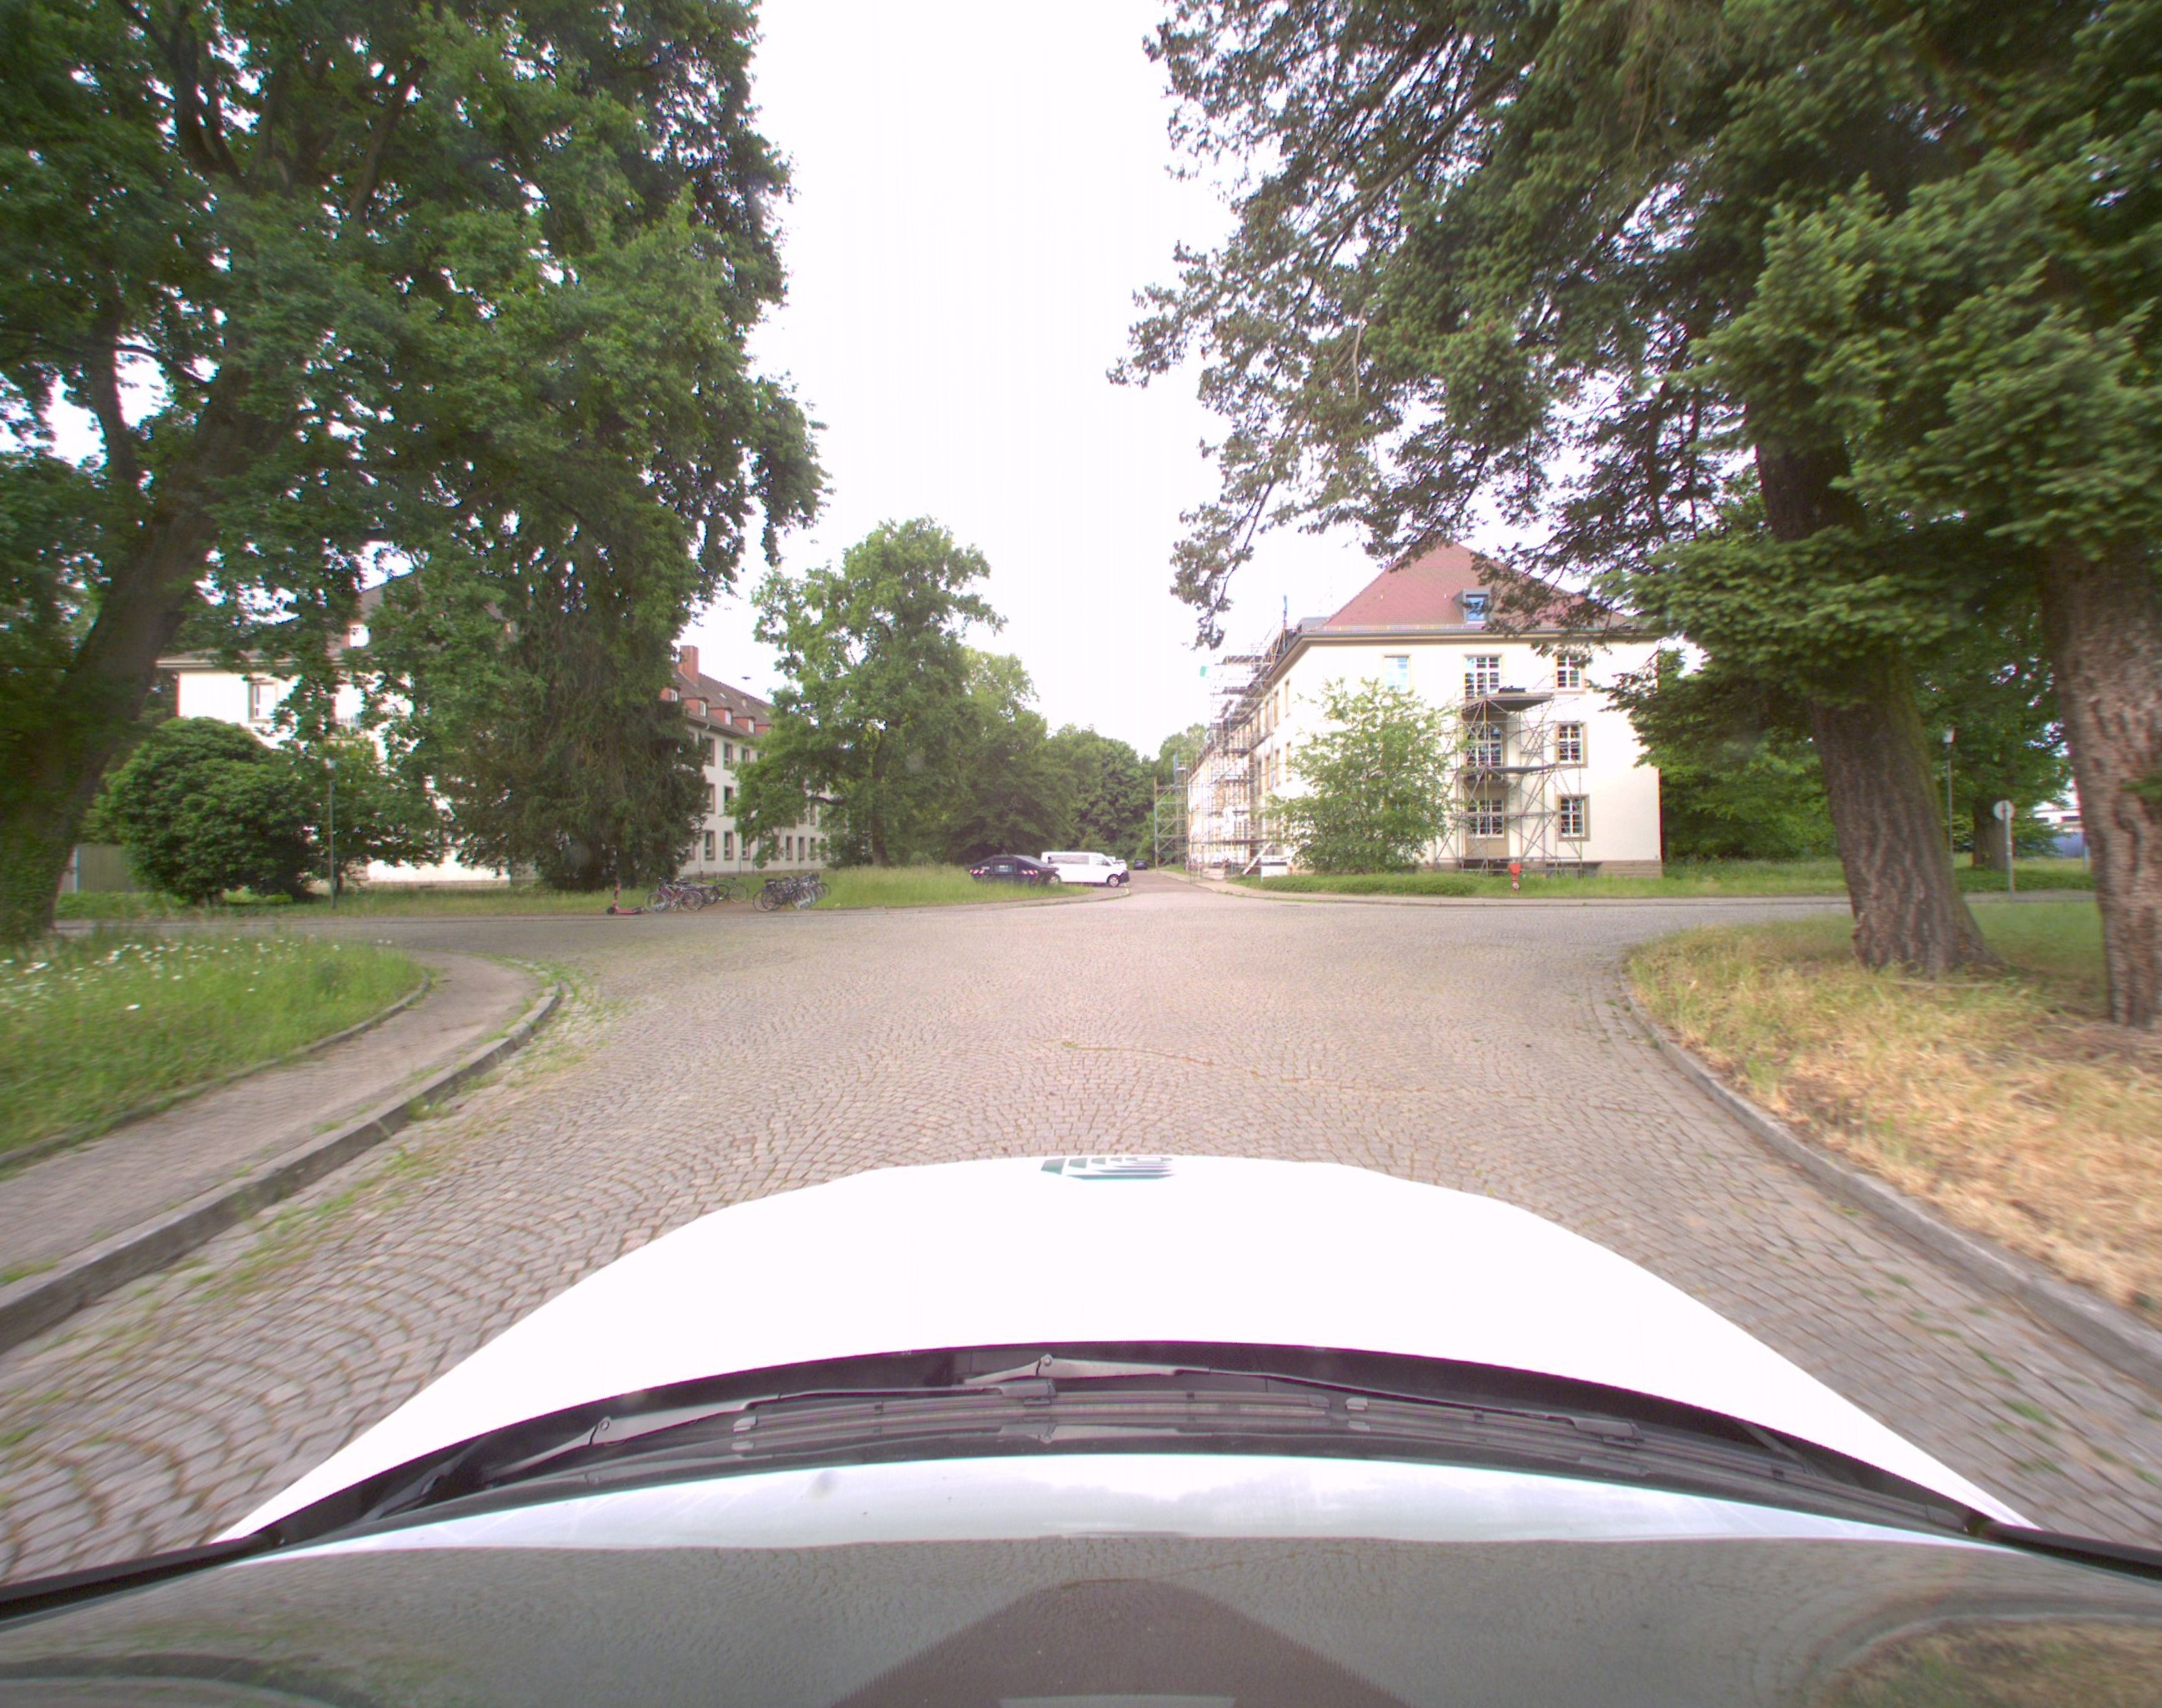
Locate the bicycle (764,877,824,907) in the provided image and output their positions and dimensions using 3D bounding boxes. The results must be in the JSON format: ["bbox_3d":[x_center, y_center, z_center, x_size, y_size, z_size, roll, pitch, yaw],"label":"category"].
[{"bbox_3d":[-10.198,1.325,28.968,1.965,0.989,0.622,-1,-1,-21],"label":"bicycle"}]

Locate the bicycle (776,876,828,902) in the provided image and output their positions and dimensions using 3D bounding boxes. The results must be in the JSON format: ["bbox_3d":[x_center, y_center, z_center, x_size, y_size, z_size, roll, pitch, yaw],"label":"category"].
[{"bbox_3d":[-11.252,1.408,32.882,1.965,0.989,0.622,-1,-1,-21],"label":"bicycle"}]

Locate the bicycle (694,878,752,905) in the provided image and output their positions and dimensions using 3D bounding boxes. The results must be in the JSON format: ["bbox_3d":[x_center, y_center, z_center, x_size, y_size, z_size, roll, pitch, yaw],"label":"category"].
[{"bbox_3d":[-13.908,1.445,31.679,1.957,0.989,0.625,-1,-1,-9],"label":"bicycle"}]

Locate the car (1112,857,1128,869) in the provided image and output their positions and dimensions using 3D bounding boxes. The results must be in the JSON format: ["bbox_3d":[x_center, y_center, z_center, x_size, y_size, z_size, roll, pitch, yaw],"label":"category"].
[{"bbox_3d":[5.327,1.264,112.731,2.111,1.522,4.001,-1,-1,1],"label":"car"}]

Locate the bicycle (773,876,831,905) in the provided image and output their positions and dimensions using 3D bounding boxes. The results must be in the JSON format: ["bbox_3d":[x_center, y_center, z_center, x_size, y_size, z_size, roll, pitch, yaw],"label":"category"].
[{"bbox_3d":[-10.215,1.339,29.846,1.965,0.989,0.622,-1,-1,-21],"label":"bicycle"}]

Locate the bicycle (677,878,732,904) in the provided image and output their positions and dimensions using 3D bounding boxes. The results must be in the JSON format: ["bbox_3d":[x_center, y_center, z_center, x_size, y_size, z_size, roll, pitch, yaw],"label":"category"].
[{"bbox_3d":[-15.310,1.496,33.148,1.961,0.989,0.624,-1,-1,-15],"label":"bicycle"}]

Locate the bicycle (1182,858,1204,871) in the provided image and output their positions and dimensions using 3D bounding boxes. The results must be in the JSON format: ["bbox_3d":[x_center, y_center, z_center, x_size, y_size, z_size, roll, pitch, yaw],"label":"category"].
[{"bbox_3d":[11.600,1.093,84.451,2.230,1.254,0.699,-1,-1,4],"label":"bicycle"}]

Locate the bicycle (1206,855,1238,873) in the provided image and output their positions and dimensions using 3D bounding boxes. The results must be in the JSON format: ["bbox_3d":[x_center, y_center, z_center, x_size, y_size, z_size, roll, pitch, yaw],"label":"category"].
[{"bbox_3d":[10.267,0.732,59.504,2.230,1.254,0.778,-1,-1,4],"label":"bicycle"}]

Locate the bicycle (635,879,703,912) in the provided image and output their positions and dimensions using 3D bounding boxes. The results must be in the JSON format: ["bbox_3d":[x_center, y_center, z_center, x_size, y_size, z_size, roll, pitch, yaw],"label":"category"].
[{"bbox_3d":[-13.685,1.370,27.115,1.967,0.989,0.622,-1,-1,-25],"label":"bicycle"}]

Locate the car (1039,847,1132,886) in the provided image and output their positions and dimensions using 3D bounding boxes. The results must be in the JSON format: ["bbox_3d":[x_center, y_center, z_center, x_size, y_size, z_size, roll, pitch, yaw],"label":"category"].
[{"bbox_3d":[0.259,0.705,46.826,5.218,2.168,1.999,-1,-1,-1],"label":"car"}]

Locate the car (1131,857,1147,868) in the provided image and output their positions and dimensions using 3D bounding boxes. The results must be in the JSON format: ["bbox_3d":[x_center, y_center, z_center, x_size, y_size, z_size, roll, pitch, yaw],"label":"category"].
[{"bbox_3d":[8.006,1.211,112.950,1.944,1.522,4.000,-1,-1,1],"label":"car"}]

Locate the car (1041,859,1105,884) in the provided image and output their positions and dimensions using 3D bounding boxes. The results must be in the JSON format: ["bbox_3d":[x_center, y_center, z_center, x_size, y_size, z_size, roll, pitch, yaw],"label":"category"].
[{"bbox_3d":[-0.487,1.047,49.440,3.777,1.395,1.999,-1,-1,-1],"label":"car"}]

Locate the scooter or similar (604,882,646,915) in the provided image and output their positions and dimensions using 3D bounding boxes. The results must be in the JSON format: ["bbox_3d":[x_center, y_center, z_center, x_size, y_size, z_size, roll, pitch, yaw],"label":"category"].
[{"bbox_3d":[-14.726,1.420,26.299,1.337,1.038,0.455,-1,-1,23],"label":"scooter or similar"}]

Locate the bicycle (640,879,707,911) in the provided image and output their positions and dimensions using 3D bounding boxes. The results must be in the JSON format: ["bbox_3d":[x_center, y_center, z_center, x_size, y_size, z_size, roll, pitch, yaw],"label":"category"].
[{"bbox_3d":[-13.795,1.380,27.608,1.964,0.989,0.622,-1,-1,-21],"label":"bicycle"}]

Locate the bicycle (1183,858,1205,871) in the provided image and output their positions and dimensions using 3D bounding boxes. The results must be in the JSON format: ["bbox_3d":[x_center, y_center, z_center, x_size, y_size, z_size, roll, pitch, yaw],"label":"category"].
[{"bbox_3d":[11.543,1.076,83.323,2.230,1.254,0.627,-1,-1,4],"label":"bicycle"}]

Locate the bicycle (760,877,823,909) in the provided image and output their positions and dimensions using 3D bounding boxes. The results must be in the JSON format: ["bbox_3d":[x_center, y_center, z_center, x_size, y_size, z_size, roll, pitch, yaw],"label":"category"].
[{"bbox_3d":[-9.711,1.290,27.355,1.965,0.989,0.622,-1,-1,-21],"label":"bicycle"}]

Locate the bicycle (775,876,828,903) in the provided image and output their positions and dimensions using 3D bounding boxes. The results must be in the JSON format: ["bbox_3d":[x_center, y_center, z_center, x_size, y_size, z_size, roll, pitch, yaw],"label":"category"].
[{"bbox_3d":[-11.077,1.395,32.307,1.965,0.989,0.622,-1,-1,-21],"label":"bicycle"}]

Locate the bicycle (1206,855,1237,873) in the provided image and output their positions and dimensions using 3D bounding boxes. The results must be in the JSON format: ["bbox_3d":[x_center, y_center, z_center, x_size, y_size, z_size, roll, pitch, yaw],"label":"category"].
[{"bbox_3d":[10.557,0.755,61.409,2.230,1.254,0.778,-1,-1,4],"label":"bicycle"}]

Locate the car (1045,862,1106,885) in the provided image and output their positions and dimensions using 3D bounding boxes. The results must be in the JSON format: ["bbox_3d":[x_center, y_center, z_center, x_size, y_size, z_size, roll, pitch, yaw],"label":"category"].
[{"bbox_3d":[-0.325,1.211,51.968,3.776,1.395,2.000,-1,-1,0],"label":"car"}]

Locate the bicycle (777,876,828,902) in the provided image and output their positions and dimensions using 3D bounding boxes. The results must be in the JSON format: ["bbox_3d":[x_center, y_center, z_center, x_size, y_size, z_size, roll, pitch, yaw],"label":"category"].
[{"bbox_3d":[-11.477,1.424,33.611,1.965,0.989,0.622,-1,-1,-21],"label":"bicycle"}]

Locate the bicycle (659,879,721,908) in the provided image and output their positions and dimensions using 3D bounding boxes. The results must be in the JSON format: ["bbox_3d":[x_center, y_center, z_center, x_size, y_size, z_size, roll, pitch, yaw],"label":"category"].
[{"bbox_3d":[-14.056,1.412,29.325,1.967,0.989,0.622,-1,-1,-25],"label":"bicycle"}]

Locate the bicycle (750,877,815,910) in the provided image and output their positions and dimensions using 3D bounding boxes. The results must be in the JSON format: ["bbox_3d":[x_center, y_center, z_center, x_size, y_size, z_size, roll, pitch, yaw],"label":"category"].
[{"bbox_3d":[-9.762,1.281,26.732,1.963,0.989,0.623,-1,-1,-19],"label":"bicycle"}]

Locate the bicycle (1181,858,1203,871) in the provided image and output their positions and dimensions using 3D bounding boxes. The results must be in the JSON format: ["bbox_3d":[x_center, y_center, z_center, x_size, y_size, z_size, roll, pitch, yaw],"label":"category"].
[{"bbox_3d":[11.642,1.105,85.295,2.230,1.254,0.635,-1,-1,4],"label":"bicycle"}]

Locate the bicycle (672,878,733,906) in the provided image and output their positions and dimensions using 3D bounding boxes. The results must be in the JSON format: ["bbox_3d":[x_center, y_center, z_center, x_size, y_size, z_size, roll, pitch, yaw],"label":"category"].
[{"bbox_3d":[-14.232,1.437,30.680,1.957,0.989,0.625,-1,-1,-9],"label":"bicycle"}]

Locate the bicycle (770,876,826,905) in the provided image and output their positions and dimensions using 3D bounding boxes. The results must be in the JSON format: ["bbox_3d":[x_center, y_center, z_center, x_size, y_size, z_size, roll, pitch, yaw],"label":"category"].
[{"bbox_3d":[-10.631,1.359,30.585,1.965,0.989,0.622,-1,-1,-21],"label":"bicycle"}]

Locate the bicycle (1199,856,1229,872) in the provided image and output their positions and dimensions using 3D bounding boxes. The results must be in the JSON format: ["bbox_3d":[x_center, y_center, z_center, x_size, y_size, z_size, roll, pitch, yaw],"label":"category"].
[{"bbox_3d":[10.389,0.796,63.761,2.230,1.254,0.778,-1,-1,4],"label":"bicycle"}]

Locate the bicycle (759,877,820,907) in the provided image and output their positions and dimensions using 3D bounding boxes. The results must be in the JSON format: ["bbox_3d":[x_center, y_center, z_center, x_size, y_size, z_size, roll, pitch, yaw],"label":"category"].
[{"bbox_3d":[-10.125,1.314,28.340,1.965,0.989,0.622,-1,-1,-21],"label":"bicycle"}]

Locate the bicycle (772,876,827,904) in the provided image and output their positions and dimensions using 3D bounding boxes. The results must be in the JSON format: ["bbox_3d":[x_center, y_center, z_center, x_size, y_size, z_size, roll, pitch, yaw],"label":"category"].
[{"bbox_3d":[-10.785,1.371,31.172,1.965,0.989,0.622,-1,-1,-21],"label":"bicycle"}]
